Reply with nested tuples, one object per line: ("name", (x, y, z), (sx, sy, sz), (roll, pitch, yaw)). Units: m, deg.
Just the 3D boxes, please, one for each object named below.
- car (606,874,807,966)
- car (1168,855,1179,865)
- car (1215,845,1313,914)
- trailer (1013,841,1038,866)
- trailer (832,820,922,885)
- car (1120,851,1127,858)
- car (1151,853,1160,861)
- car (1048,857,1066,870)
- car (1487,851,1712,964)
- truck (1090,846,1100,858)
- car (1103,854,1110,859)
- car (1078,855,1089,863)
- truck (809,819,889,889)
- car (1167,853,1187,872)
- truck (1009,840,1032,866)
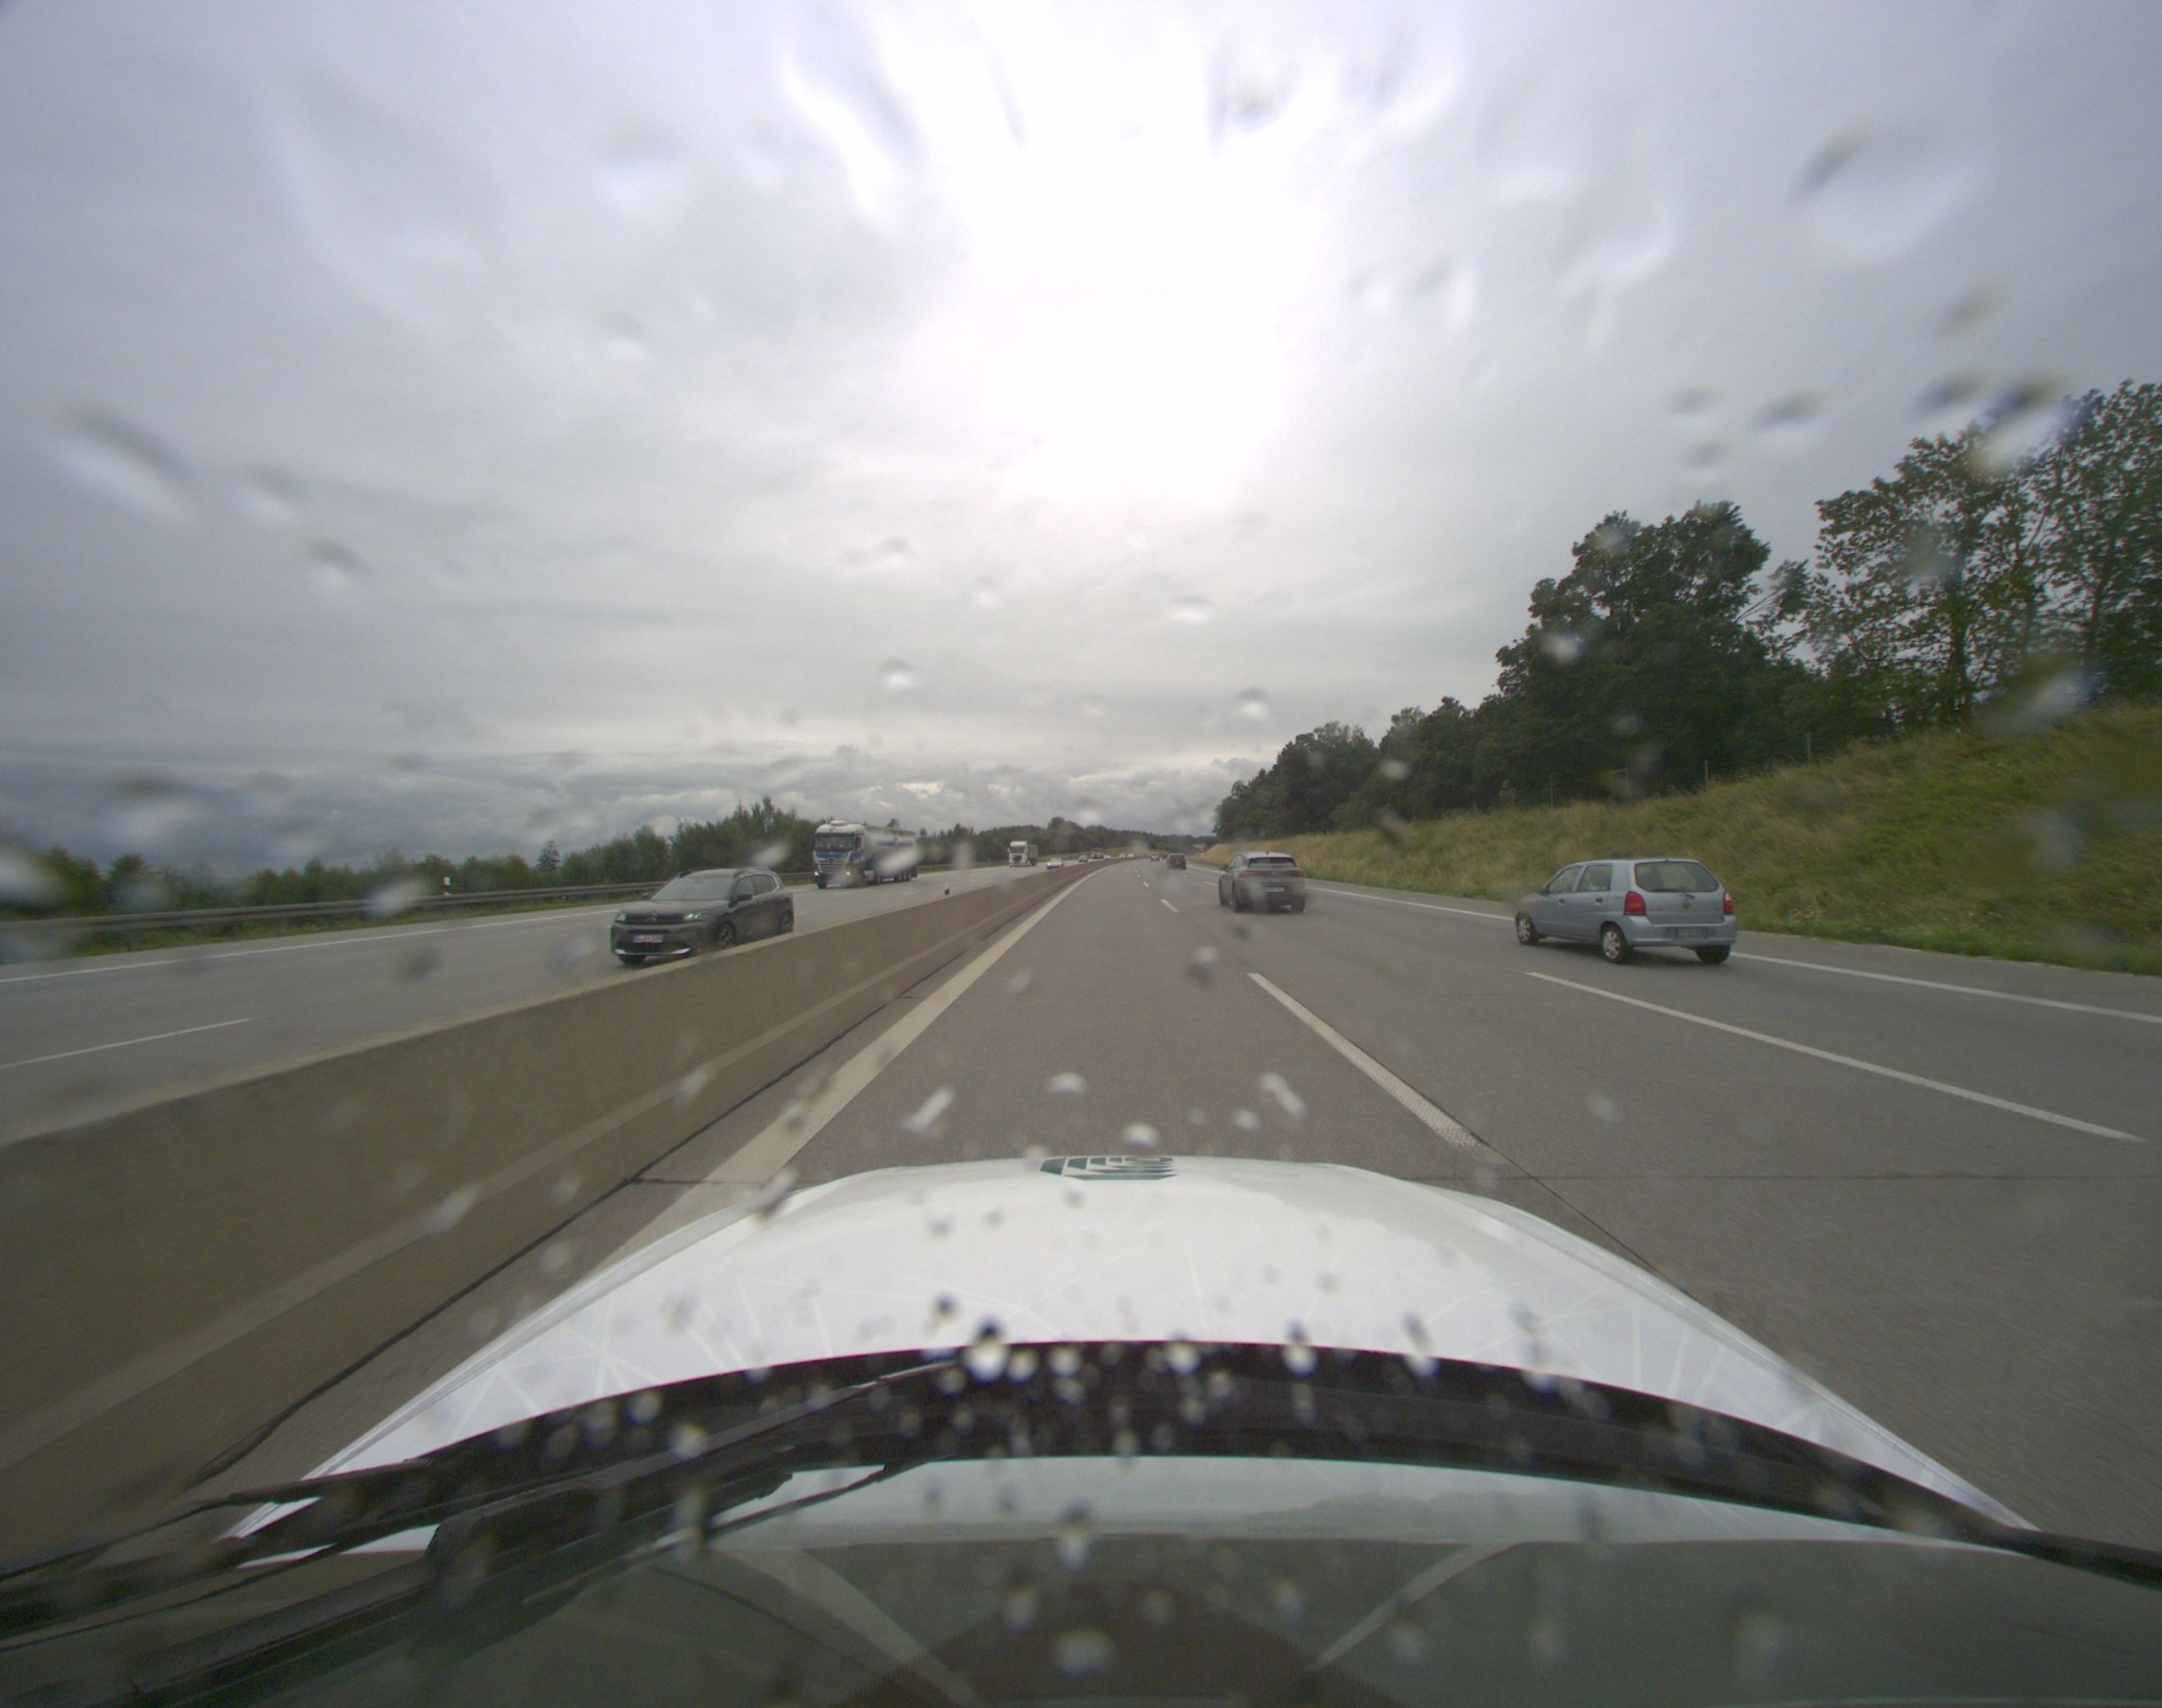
("car", (-6.991, 1.156, 15.773), (1.785, 1.417, 4.344), (-1, 0, 1))
("car", (15.862, 1.034, 140.075), (1.791, 1.465, 3.819), (-1, 1, 7))
("car", (4.991, 0.610, 22.931), (1.889, 1.689, 5.272), (0, 1, 4))
("trailer", (-8.881, -0.135, 130.874), (2.738, 3.800, 9.323), (-1, 0, 3))
("trailer", (-13.801, -0.077, 56.364), (2.748, 3.998, 12.294), (-1, 0, 2))
("car", (12.958, 0.219, 250.082), (1.984, 2.013, 5.532), (1, 1, 4))
("car", (17.161, 0.695, 187.374), (1.831, 1.500, 4.009), (-4, 1, 7))
("car", (-2.989, 1.162, 103.330), (1.986, 1.441, 4.770), (0, 1, 2))
("car", (8.021, 0.736, 12.984), (1.480, 1.470, 3.507), (-1, 1, 2))
("truck", (4.383, -0.706, 254.681), (2.574, 3.652, 7.671), (-1, 0, 5))
("car", (7.461, 0.698, 239.156), (1.728, 1.367, 4.104), (2, 2, 6))
("car", (0.579, 1.084, 182.508), (1.985, 1.589, 4.776), (-1, 0, 3))
("truck", (-14.003, -0.064, 49.709), (2.737, 3.998, 6.932), (0, 1, 1))
("car", (10.072, 0.875, 85.720), (1.778, 1.746, 3.919), (-4, 1, 3))
("truck", (-9.235, -0.159, 125.277), (2.738, 3.802, 5.536), (-1, -1, 4))
